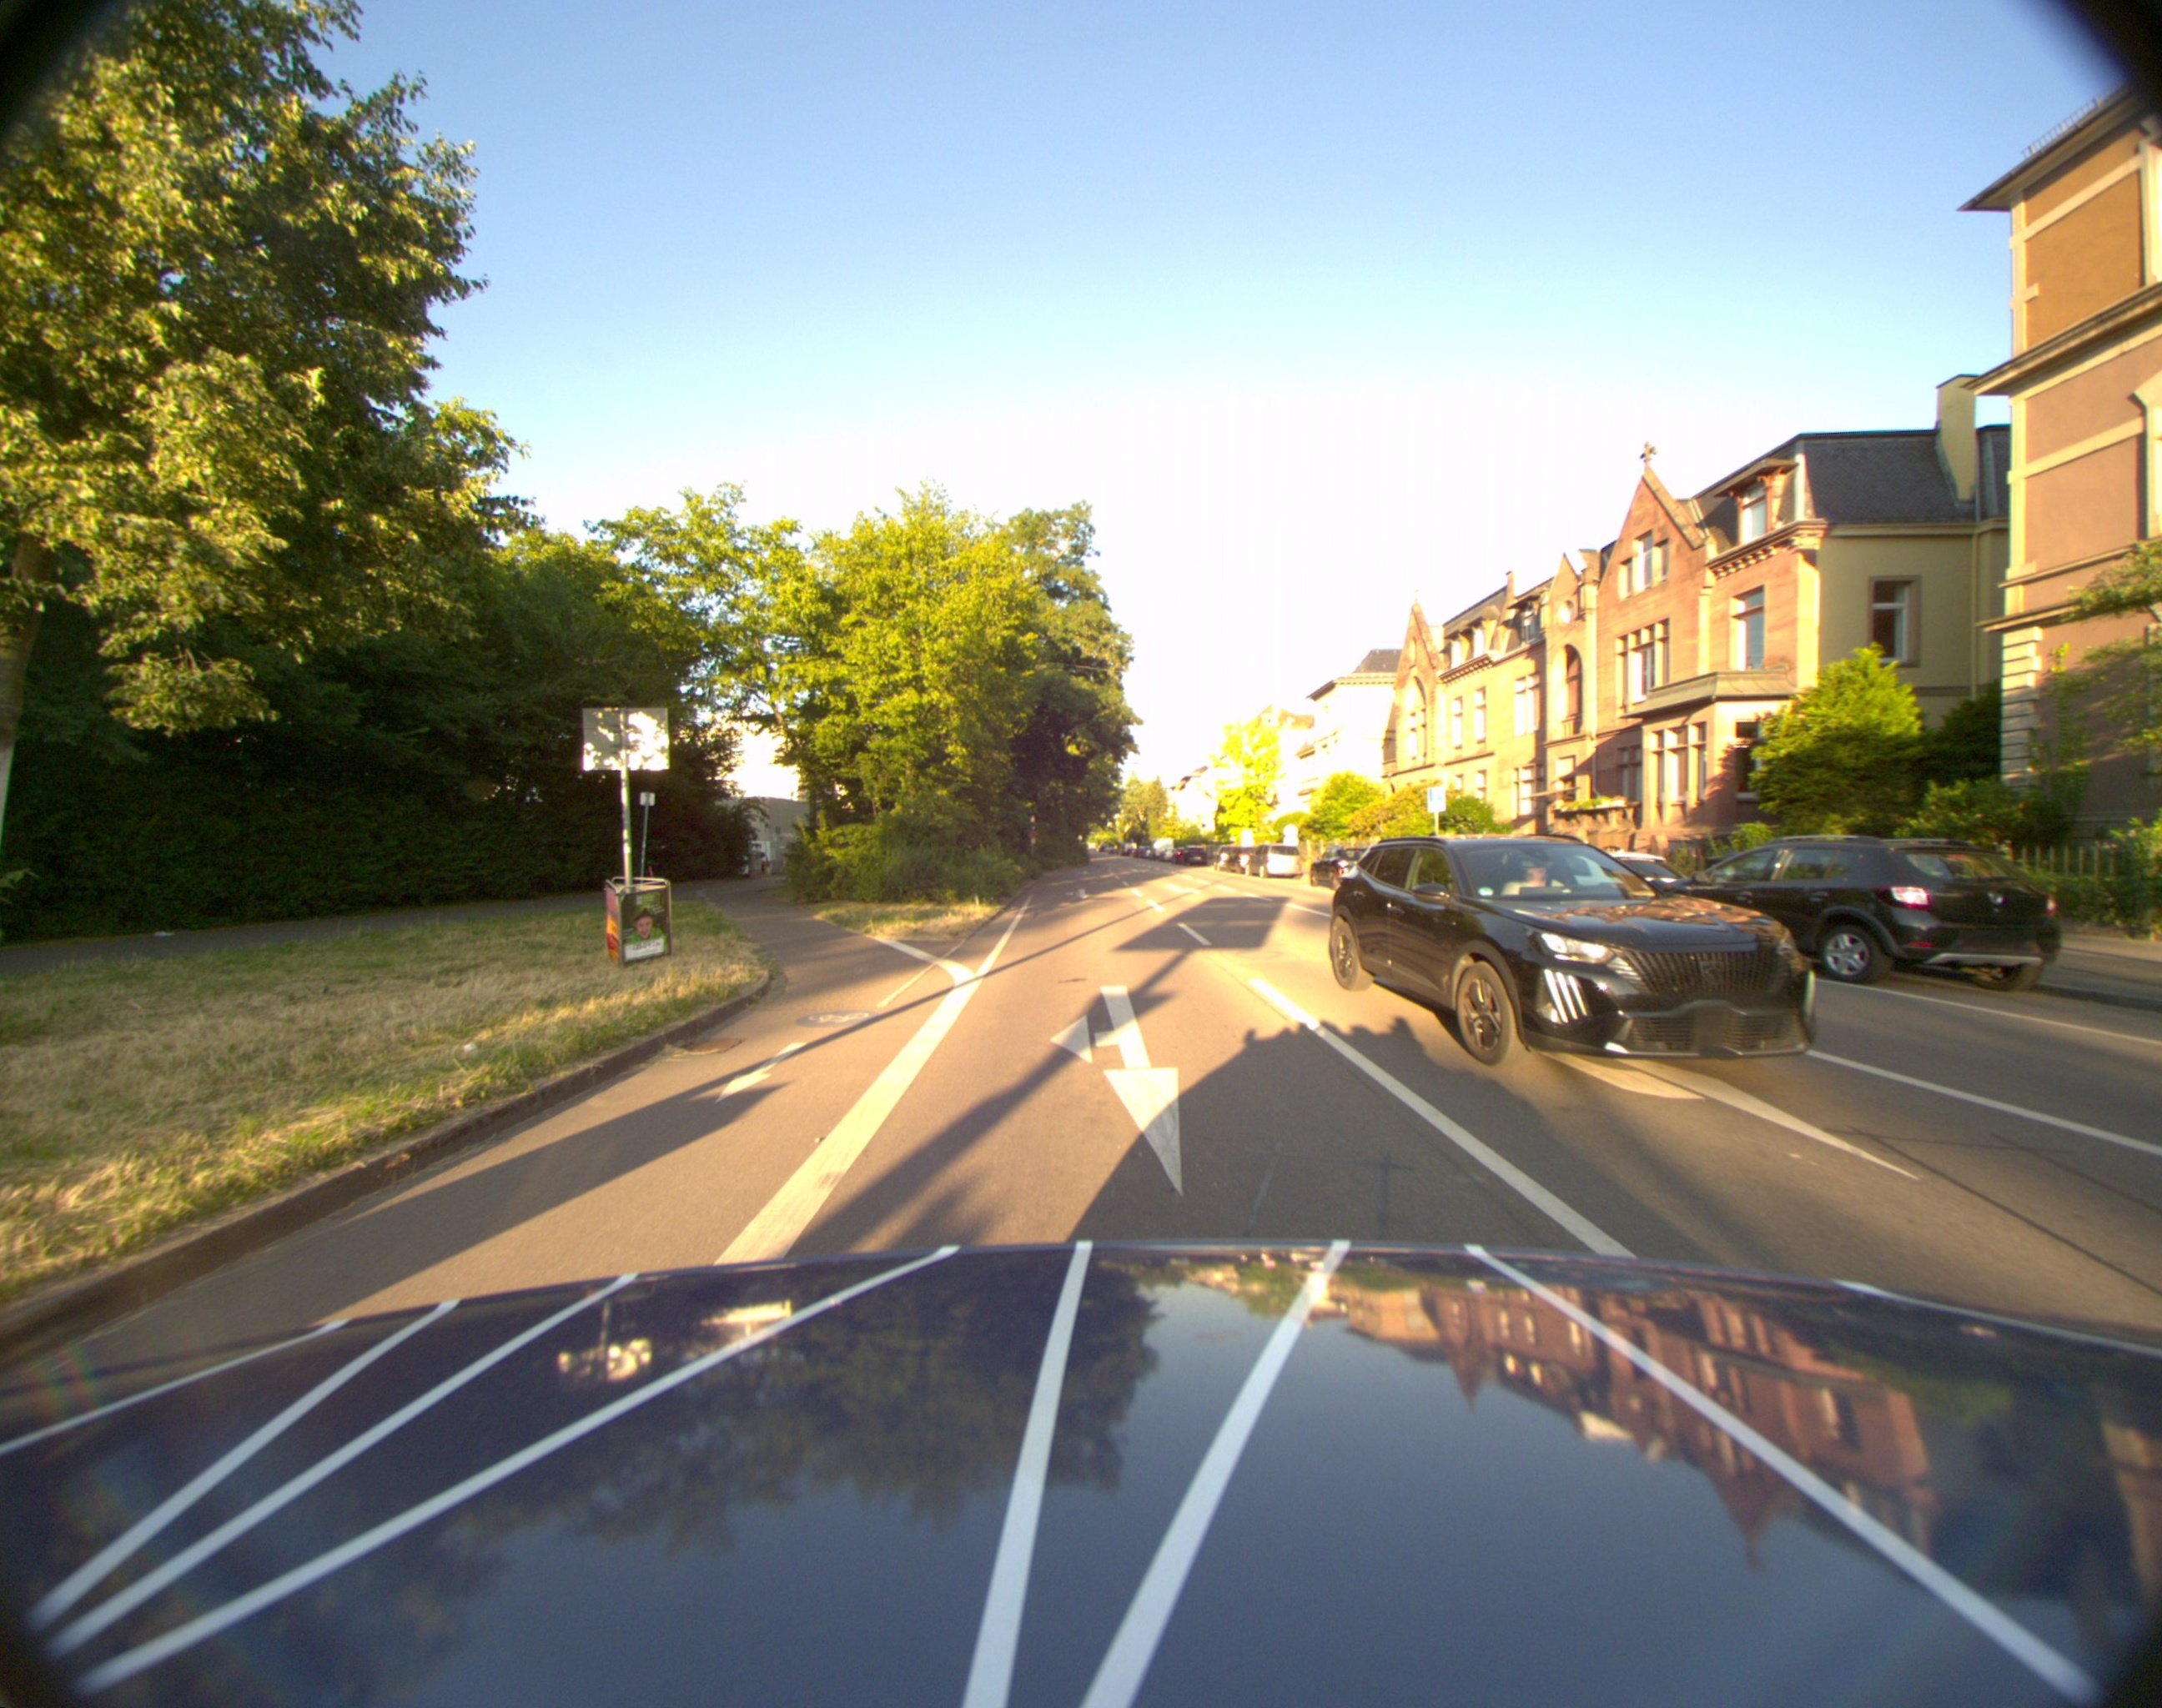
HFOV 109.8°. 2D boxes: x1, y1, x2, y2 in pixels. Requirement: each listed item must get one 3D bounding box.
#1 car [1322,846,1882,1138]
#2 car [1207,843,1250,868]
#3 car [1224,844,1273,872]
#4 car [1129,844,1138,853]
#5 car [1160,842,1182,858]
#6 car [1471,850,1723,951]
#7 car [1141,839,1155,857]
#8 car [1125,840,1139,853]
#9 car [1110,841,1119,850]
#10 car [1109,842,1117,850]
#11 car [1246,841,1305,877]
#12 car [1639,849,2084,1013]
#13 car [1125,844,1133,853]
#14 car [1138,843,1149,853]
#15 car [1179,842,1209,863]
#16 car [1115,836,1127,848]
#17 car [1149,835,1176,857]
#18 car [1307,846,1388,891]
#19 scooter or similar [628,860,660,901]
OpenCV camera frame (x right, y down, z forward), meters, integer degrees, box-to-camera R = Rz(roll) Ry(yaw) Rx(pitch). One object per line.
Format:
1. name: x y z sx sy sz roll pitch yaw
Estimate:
1. car: 3.403 0.714 6.040 1.682 1.527 3.999 -1 1 -1
2. car: 8.766 0.078 45.428 1.716 1.442 3.721 0 1 -2
3. car: 8.897 0.195 40.648 1.716 1.442 3.721 0 1 -2
4. car: 8.143 -0.822 118.663 1.220 1.430 2.514 0 1 0
5. car: 9.073 -0.446 76.969 1.715 1.596 3.853 0 1 0
6. car: 8.959 0.697 13.743 1.608 1.435 4.432 2 1 2
7. car: 8.467 -0.774 96.261 1.571 2.253 3.799 0 1 0
8. car: 9.038 -1.316 134.240 2.203 2.201 4.527 1 1 0
9. car: 7.812 -1.940 176.363 1.998 2.002 3.999 -2 1 1
10. car: 8.746 -2.243 207.255 1.998 2.002 3.999 -1 1 0
11. car: 9.037 0.208 35.613 1.716 1.579 3.752 0 1 -2
12. car: 9.025 0.744 9.323 1.631 1.526 3.723 2 1 2
13. car: 8.185 -0.922 128.929 1.220 1.430 2.514 0 1 0
14. car: 8.765 -0.818 106.040 1.327 1.430 2.697 0 1 0
15. car: 8.828 -0.135 59.555 1.880 1.596 3.722 0 1 1
16. car: 8.340 -2.476 159.202 1.999 2.443 5.578 -1 1 -1
17. car: 8.913 -0.917 83.868 2.231 2.355 5.877 0 1 -1
18. car: 9.126 0.442 26.313 1.631 1.437 3.566 0 1 2
19. scooter or similar: -11.923 0.713 20.754 0.194 1.079 0.837 -2 0 15
